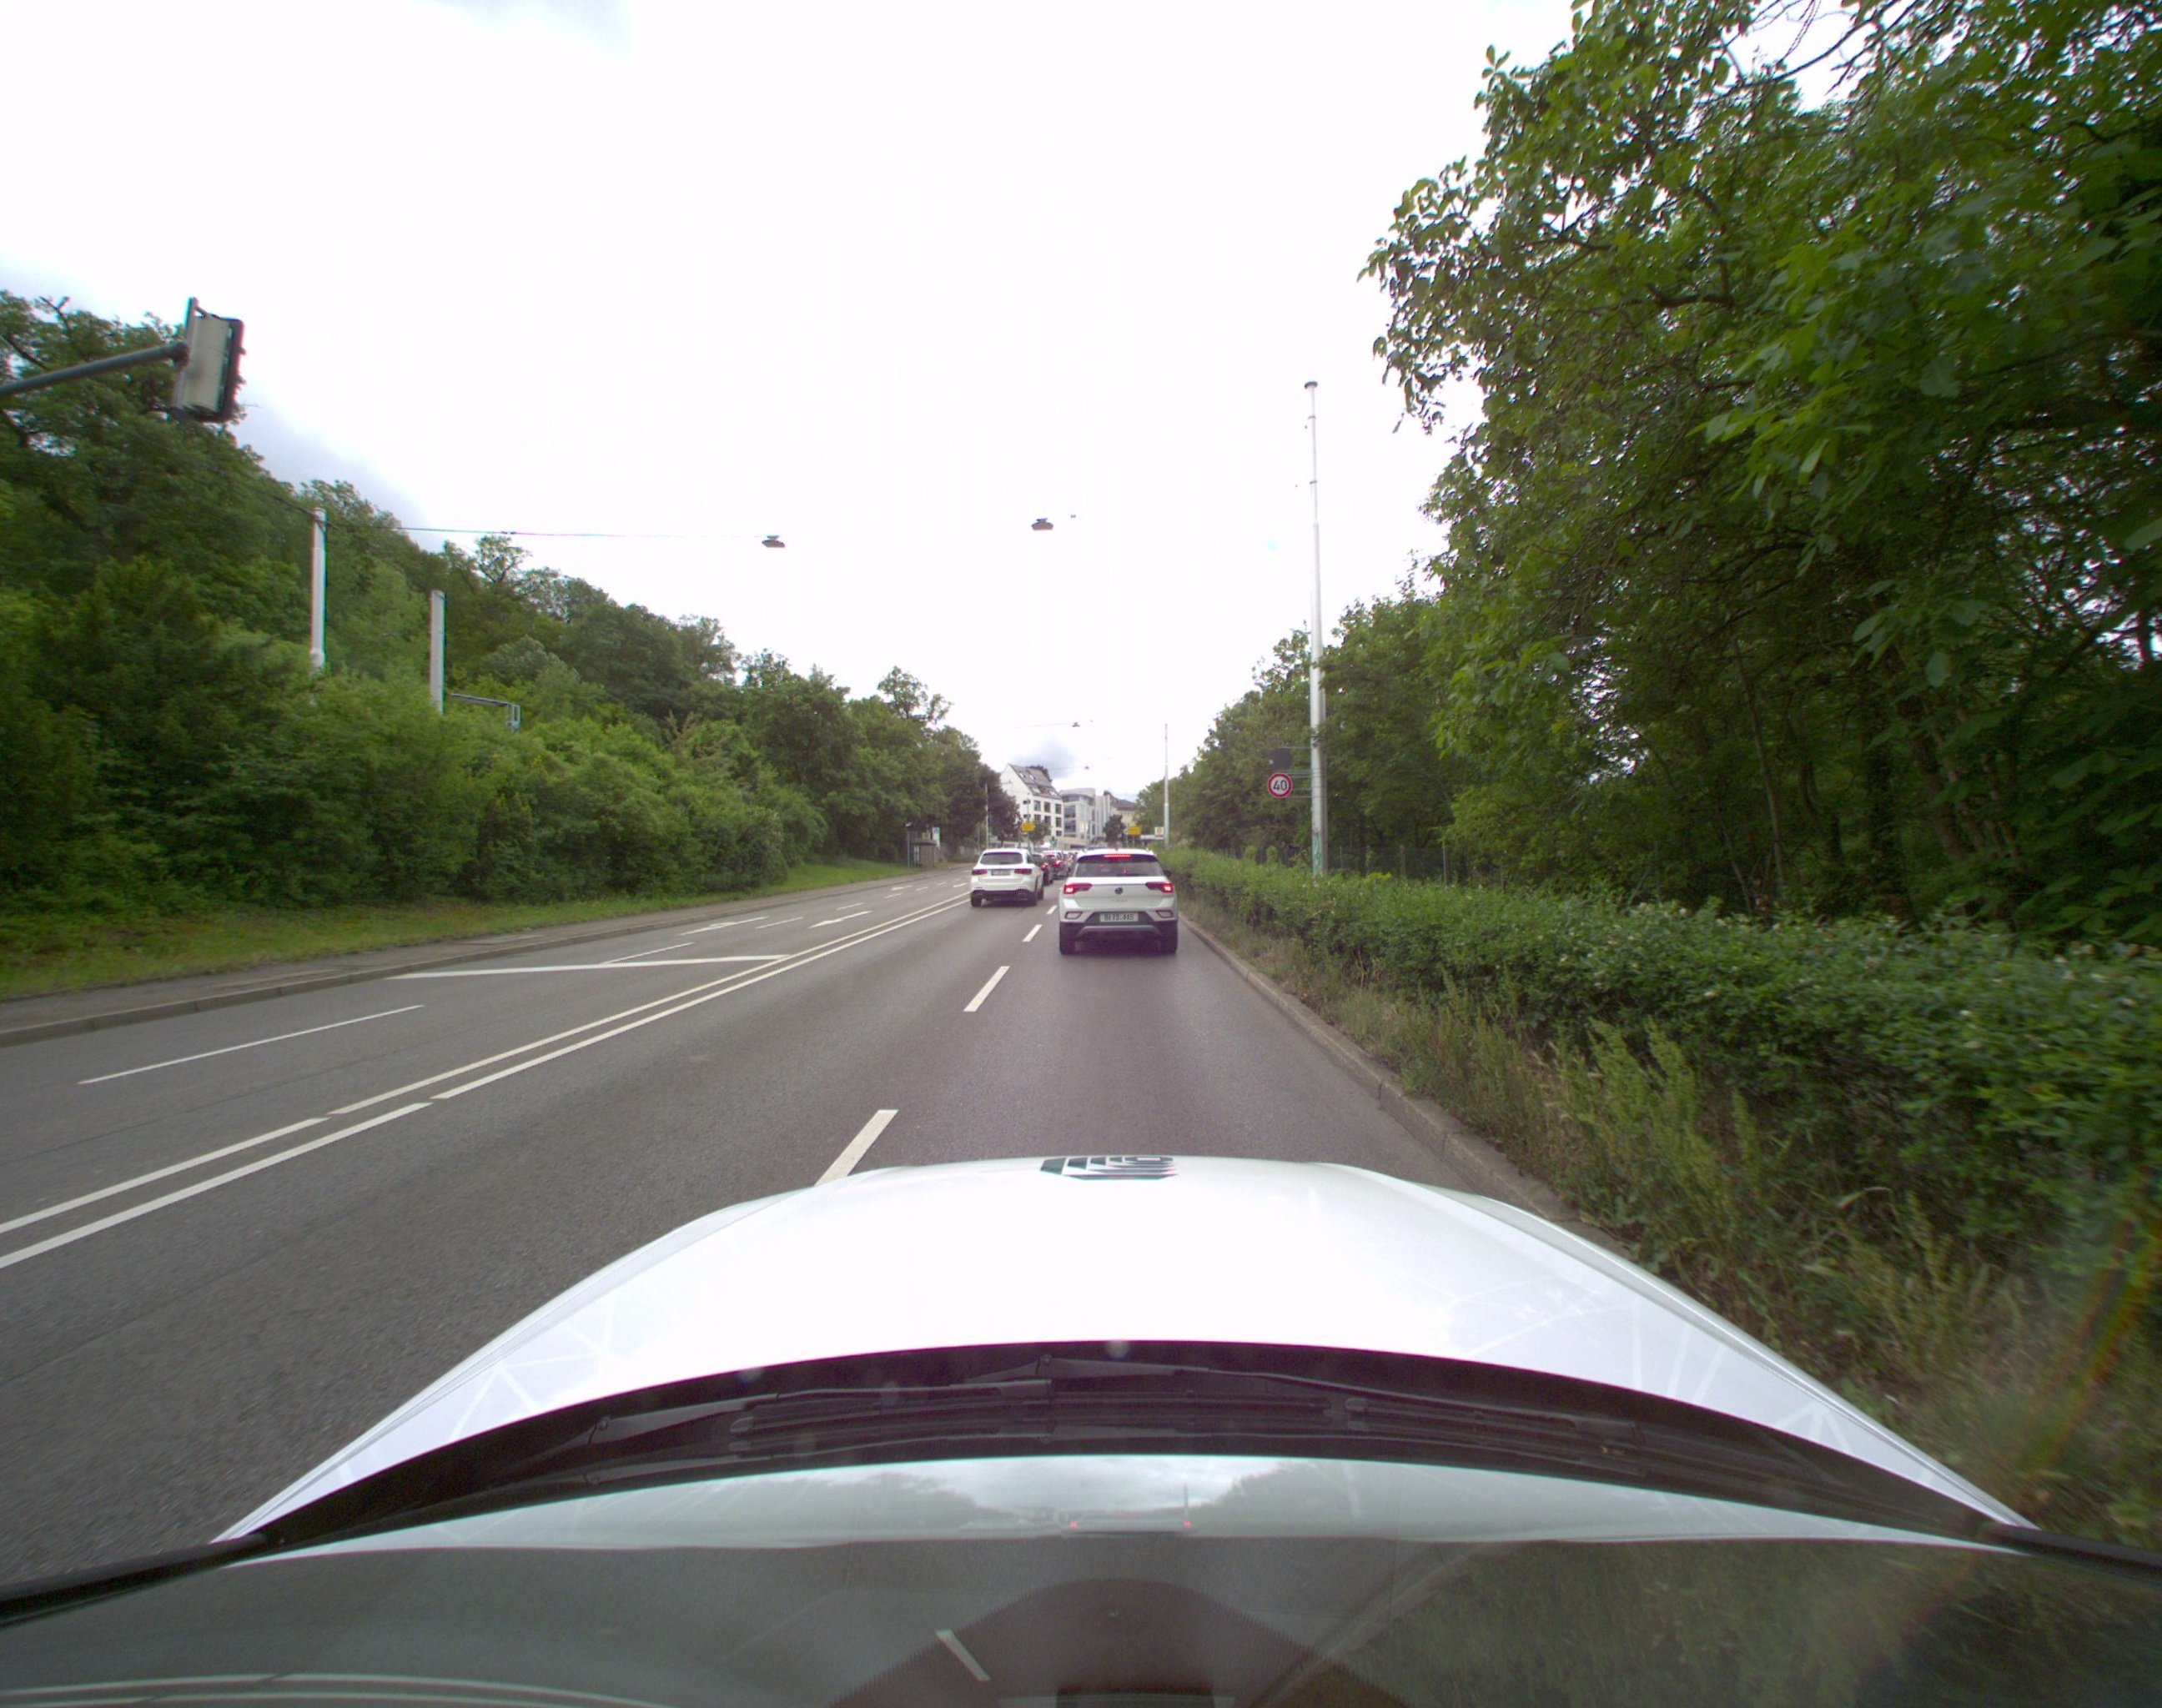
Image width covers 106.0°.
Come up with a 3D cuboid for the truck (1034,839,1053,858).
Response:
[{"bbox_3d":[-6.323,-0.879,138.364,2.283,3.051,6.986,-3,0,4],"label":"truck"}]

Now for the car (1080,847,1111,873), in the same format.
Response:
[{"bbox_3d":[0.902,0.370,51.667,1.823,1.526,4.001,-2,0,1],"label":"car"}]

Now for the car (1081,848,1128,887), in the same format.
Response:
[{"bbox_3d":[0.972,0.536,34.659,1.823,1.526,4.001,-2,0,1],"label":"car"}]

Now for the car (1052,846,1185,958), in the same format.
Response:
[{"bbox_3d":[0.561,0.667,13.399,1.823,1.526,4.001,-2,0,1],"label":"car"}]

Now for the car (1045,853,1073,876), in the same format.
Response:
[{"bbox_3d":[-1.576,0.767,59.565,1.823,1.526,4.001,-2,0,1],"label":"car"}]

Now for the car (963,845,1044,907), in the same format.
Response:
[{"bbox_3d":[-2.189,0.594,24.071,1.911,1.669,4.001,-1,0,1],"label":"car"}]

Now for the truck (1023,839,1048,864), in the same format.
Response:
[{"bbox_3d":[-5.239,-0.283,93.924,2.354,2.706,4.479,-3,0,1],"label":"truck"}]

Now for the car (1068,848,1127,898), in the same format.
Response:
[{"bbox_3d":[0.560,0.597,27.687,1.823,1.526,4.001,-2,0,1],"label":"car"}]

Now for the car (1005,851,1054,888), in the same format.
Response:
[{"bbox_3d":[-2.279,0.655,36.920,1.823,1.497,4.001,-2,0,1],"label":"car"}]

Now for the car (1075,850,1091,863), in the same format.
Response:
[{"bbox_3d":[0.302,0.324,101.254,1.823,1.526,4.001,-2,0,1],"label":"car"}]

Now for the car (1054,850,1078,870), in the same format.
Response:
[{"bbox_3d":[-1.233,0.481,67.702,1.823,1.526,4.001,-2,0,1],"label":"car"}]

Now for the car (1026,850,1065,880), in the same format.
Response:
[{"bbox_3d":[-1.903,0.573,44.482,1.823,1.526,4.001,-2,0,1],"label":"car"}]

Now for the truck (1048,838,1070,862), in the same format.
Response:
[{"bbox_3d":[-2.620,-0.507,98.415,2.354,2.782,4.479,-3,0,1],"label":"truck"}]

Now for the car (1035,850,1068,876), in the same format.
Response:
[{"bbox_3d":[-1.837,0.537,51.874,1.823,1.526,4.001,-2,0,1],"label":"car"}]
